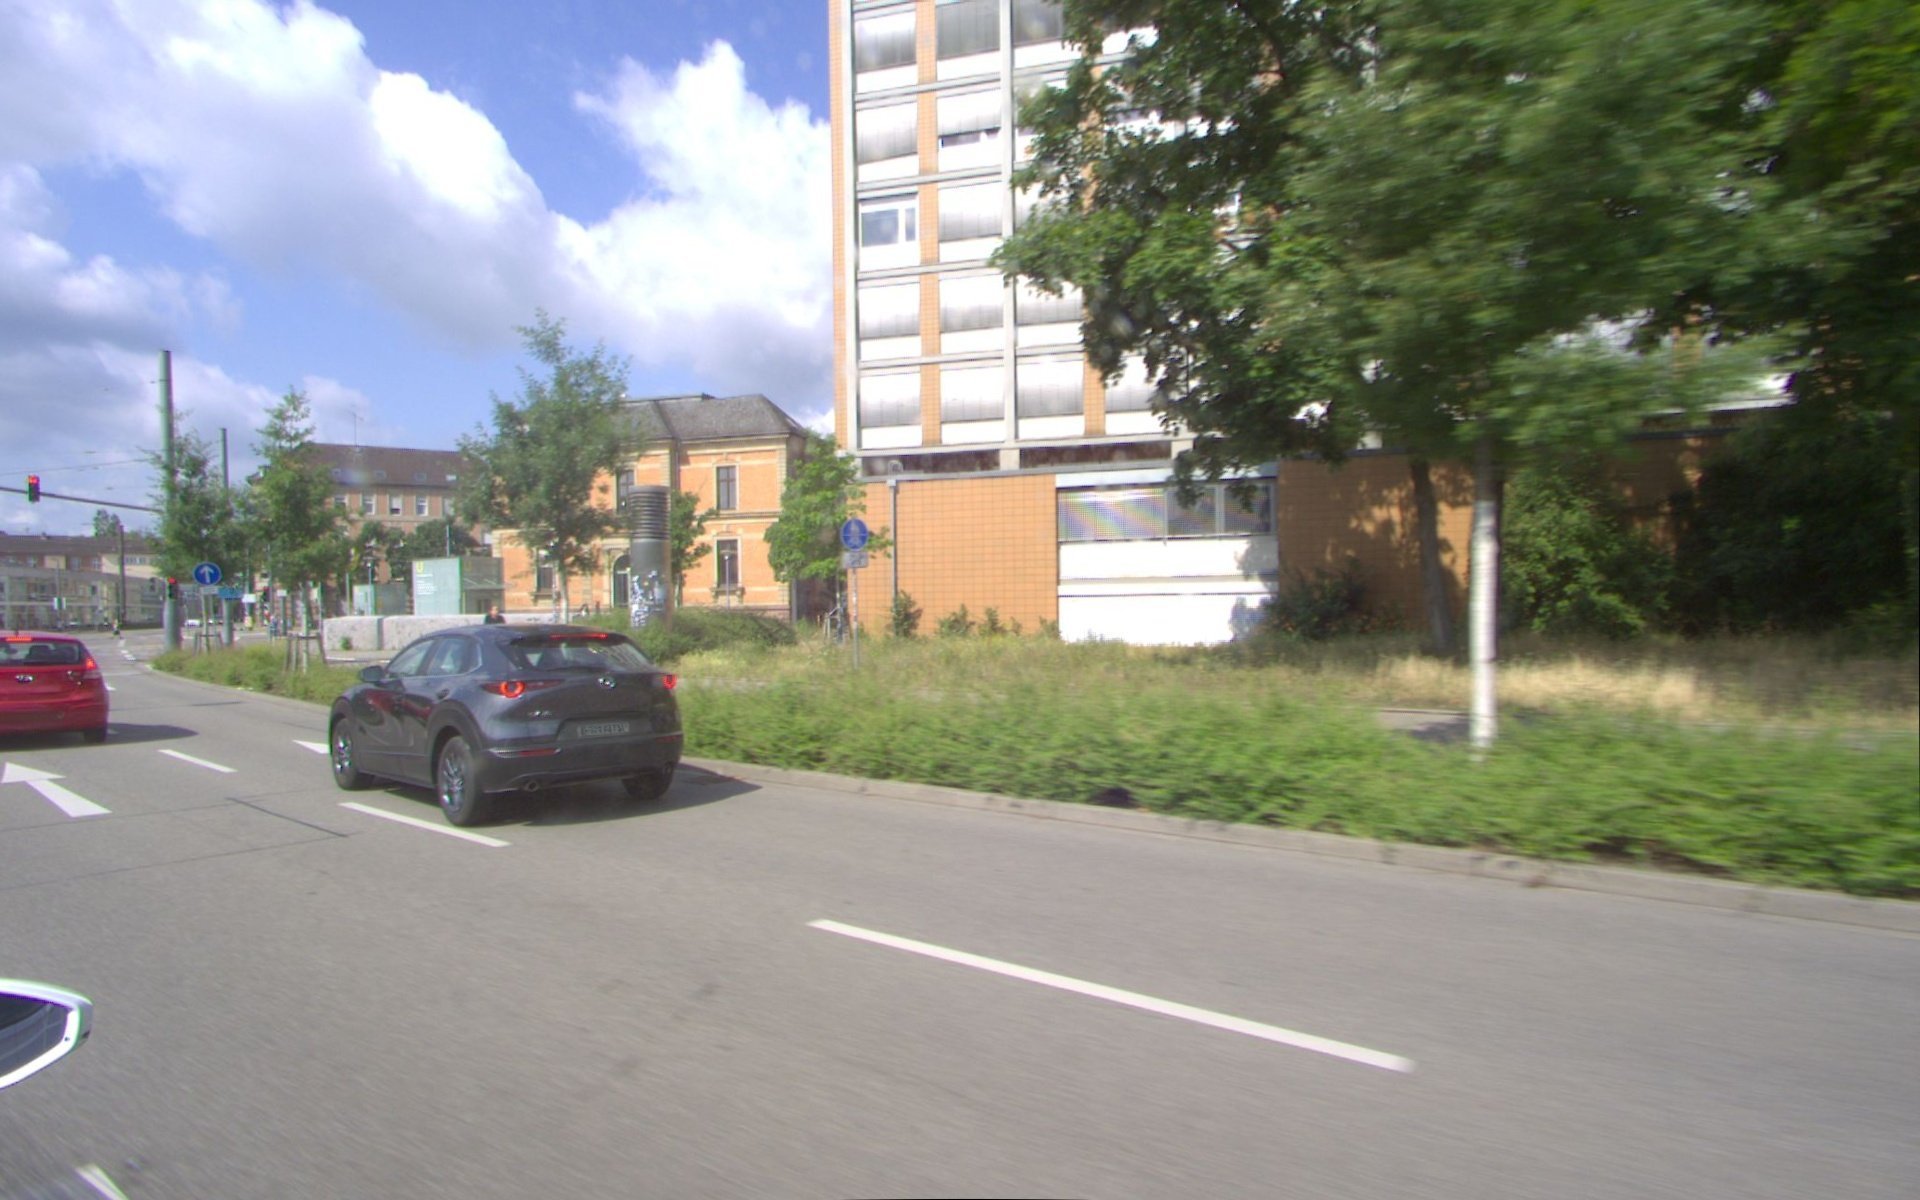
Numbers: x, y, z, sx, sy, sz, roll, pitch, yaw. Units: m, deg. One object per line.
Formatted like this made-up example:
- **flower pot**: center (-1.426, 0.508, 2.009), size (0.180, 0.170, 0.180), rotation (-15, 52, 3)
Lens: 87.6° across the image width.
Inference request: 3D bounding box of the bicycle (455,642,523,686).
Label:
- **bicycle**: center (-9.937, 1.331, 21.113), size (1.768, 0.822, 0.621), rotation (-1, 1, 41)

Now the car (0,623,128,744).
- **car**: center (-12.970, 1.049, 13.652), size (4.019, 1.458, 1.809), rotation (-1, -1, 40)

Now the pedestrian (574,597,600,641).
- **pedestrian**: center (-14.503, 0.735, 38.961), size (0.751, 1.709, 0.881), rotation (-1, 0, -7)

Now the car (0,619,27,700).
- **car**: center (-19.824, 1.143, 19.603), size (4.285, 1.492, 1.839), rotation (-1, 0, 41)

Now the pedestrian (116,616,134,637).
- **pedestrian**: center (-61.181, 1.932, 73.371), size (0.661, 1.556, 0.675), rotation (-1, 0, 4)

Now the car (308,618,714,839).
- **car**: center (-4.175, 0.956, 8.988), size (4.158, 1.527, 1.797), rotation (-2, -2, 42)

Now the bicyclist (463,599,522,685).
- **bicyclist**: center (-9.826, 0.867, 21.033), size (0.954, 1.725, 0.732), rotation (0, 2, 41)

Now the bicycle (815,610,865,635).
- **bicycle**: center (-5.379, 1.009, 44.897), size (2.032, 1.087, 1.036), rotation (-1, 0, 8)

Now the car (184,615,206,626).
- **car**: center (-106.172, 2.887, 139.009), size (1.971, 1.461, 3.979), rotation (-1, 0, -30)
